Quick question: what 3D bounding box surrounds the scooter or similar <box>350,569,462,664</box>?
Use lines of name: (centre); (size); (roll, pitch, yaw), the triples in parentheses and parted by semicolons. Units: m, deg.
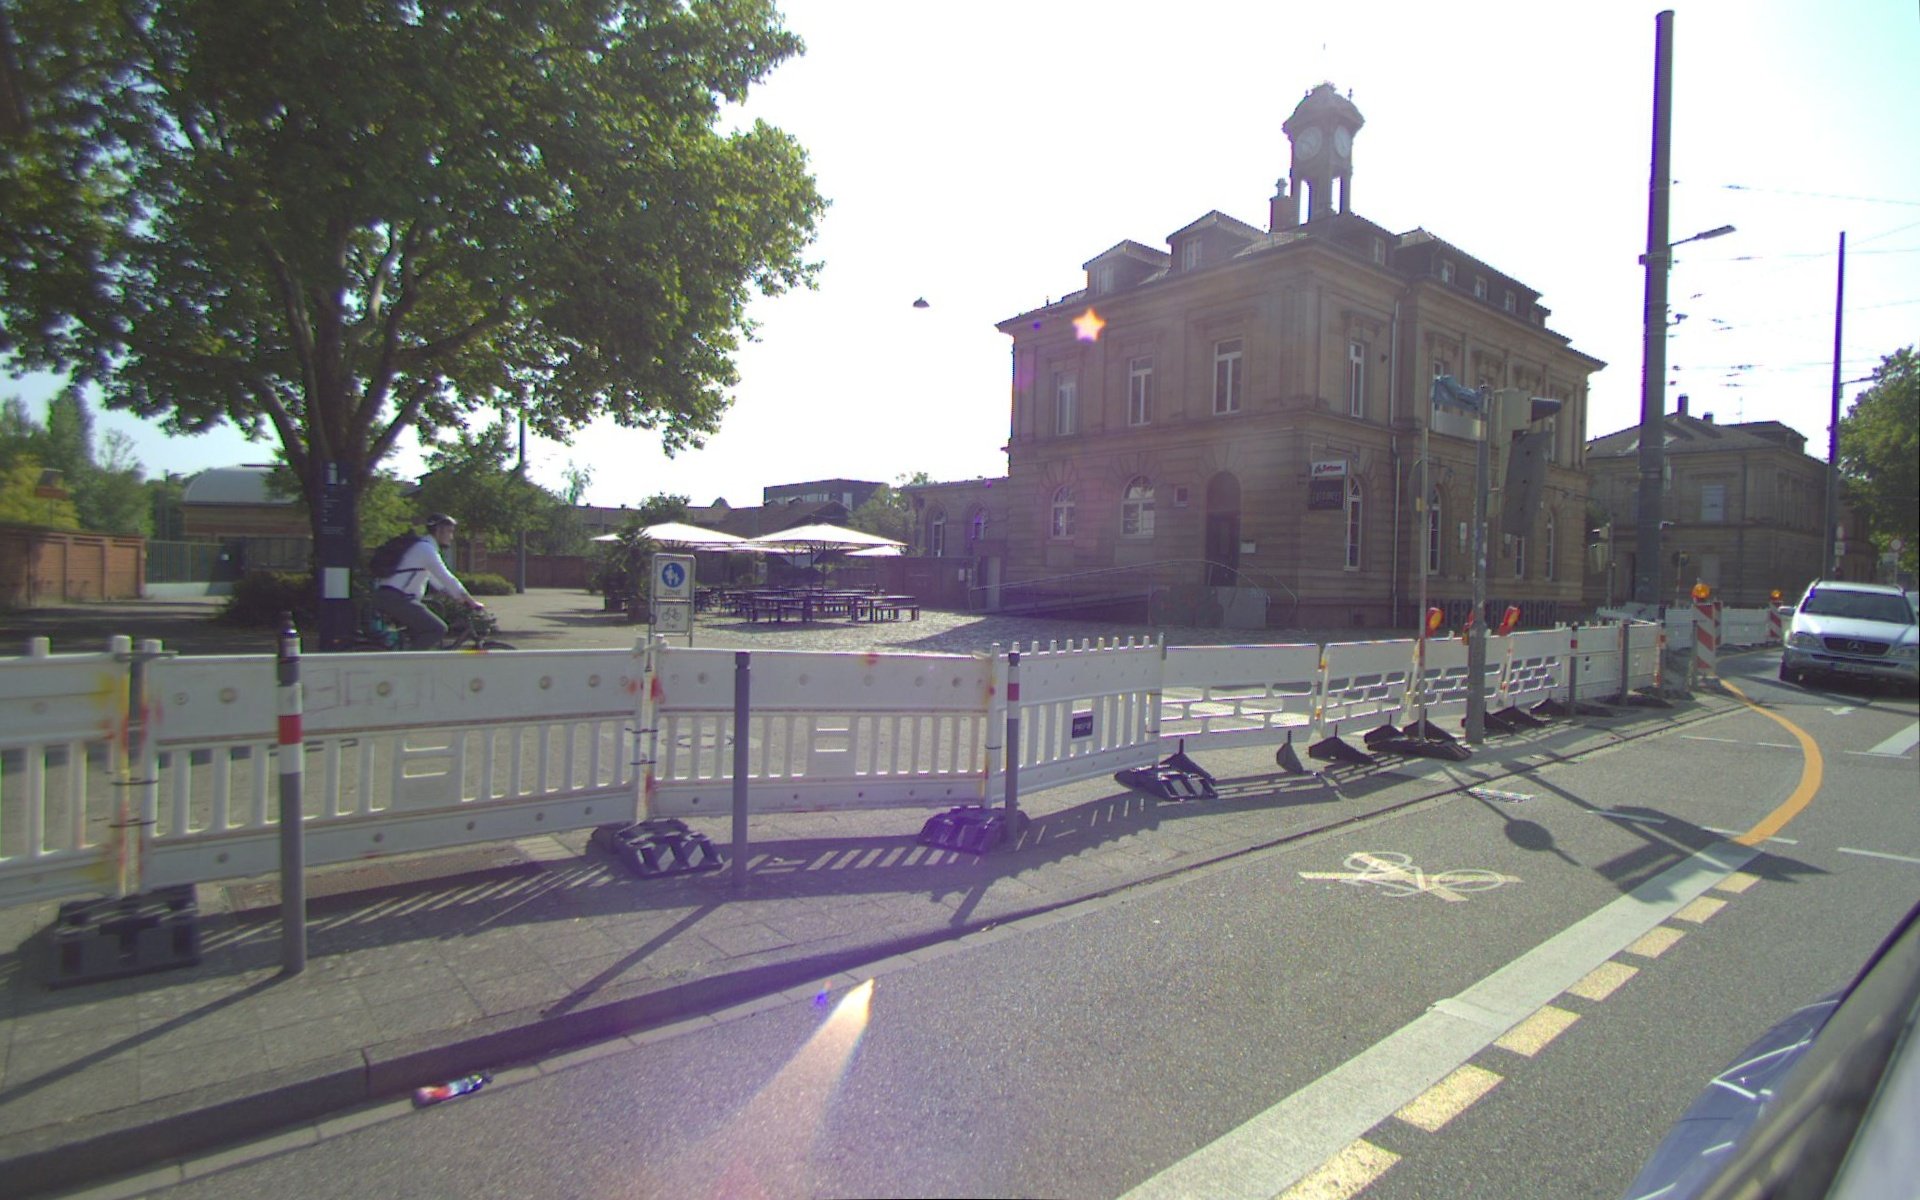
scooter or similar: (-7.532, 0.226, 13.806); (1.228, 1.225, 0.423); (3, 0, -17)

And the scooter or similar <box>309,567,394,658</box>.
scooter or similar: (-8.831, 0.162, 14.675); (1.243, 1.225, 0.419); (4, 1, 26)

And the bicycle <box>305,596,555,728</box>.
bicycle: (-4.743, 0.509, 9.134); (1.870, 1.055, 0.718); (0, 2, -42)

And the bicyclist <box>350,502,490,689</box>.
bicyclist: (-4.823, -0.051, 9.042); (0.939, 1.562, 0.718); (1, 1, -42)

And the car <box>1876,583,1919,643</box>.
car: (29.978, 0.414, 31.258); (5.136, 1.716, 1.997); (0, 2, -42)

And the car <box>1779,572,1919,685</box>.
car: (16.217, 0.411, 18.139); (1.994, 1.716, 5.144); (3, 2, 43)
